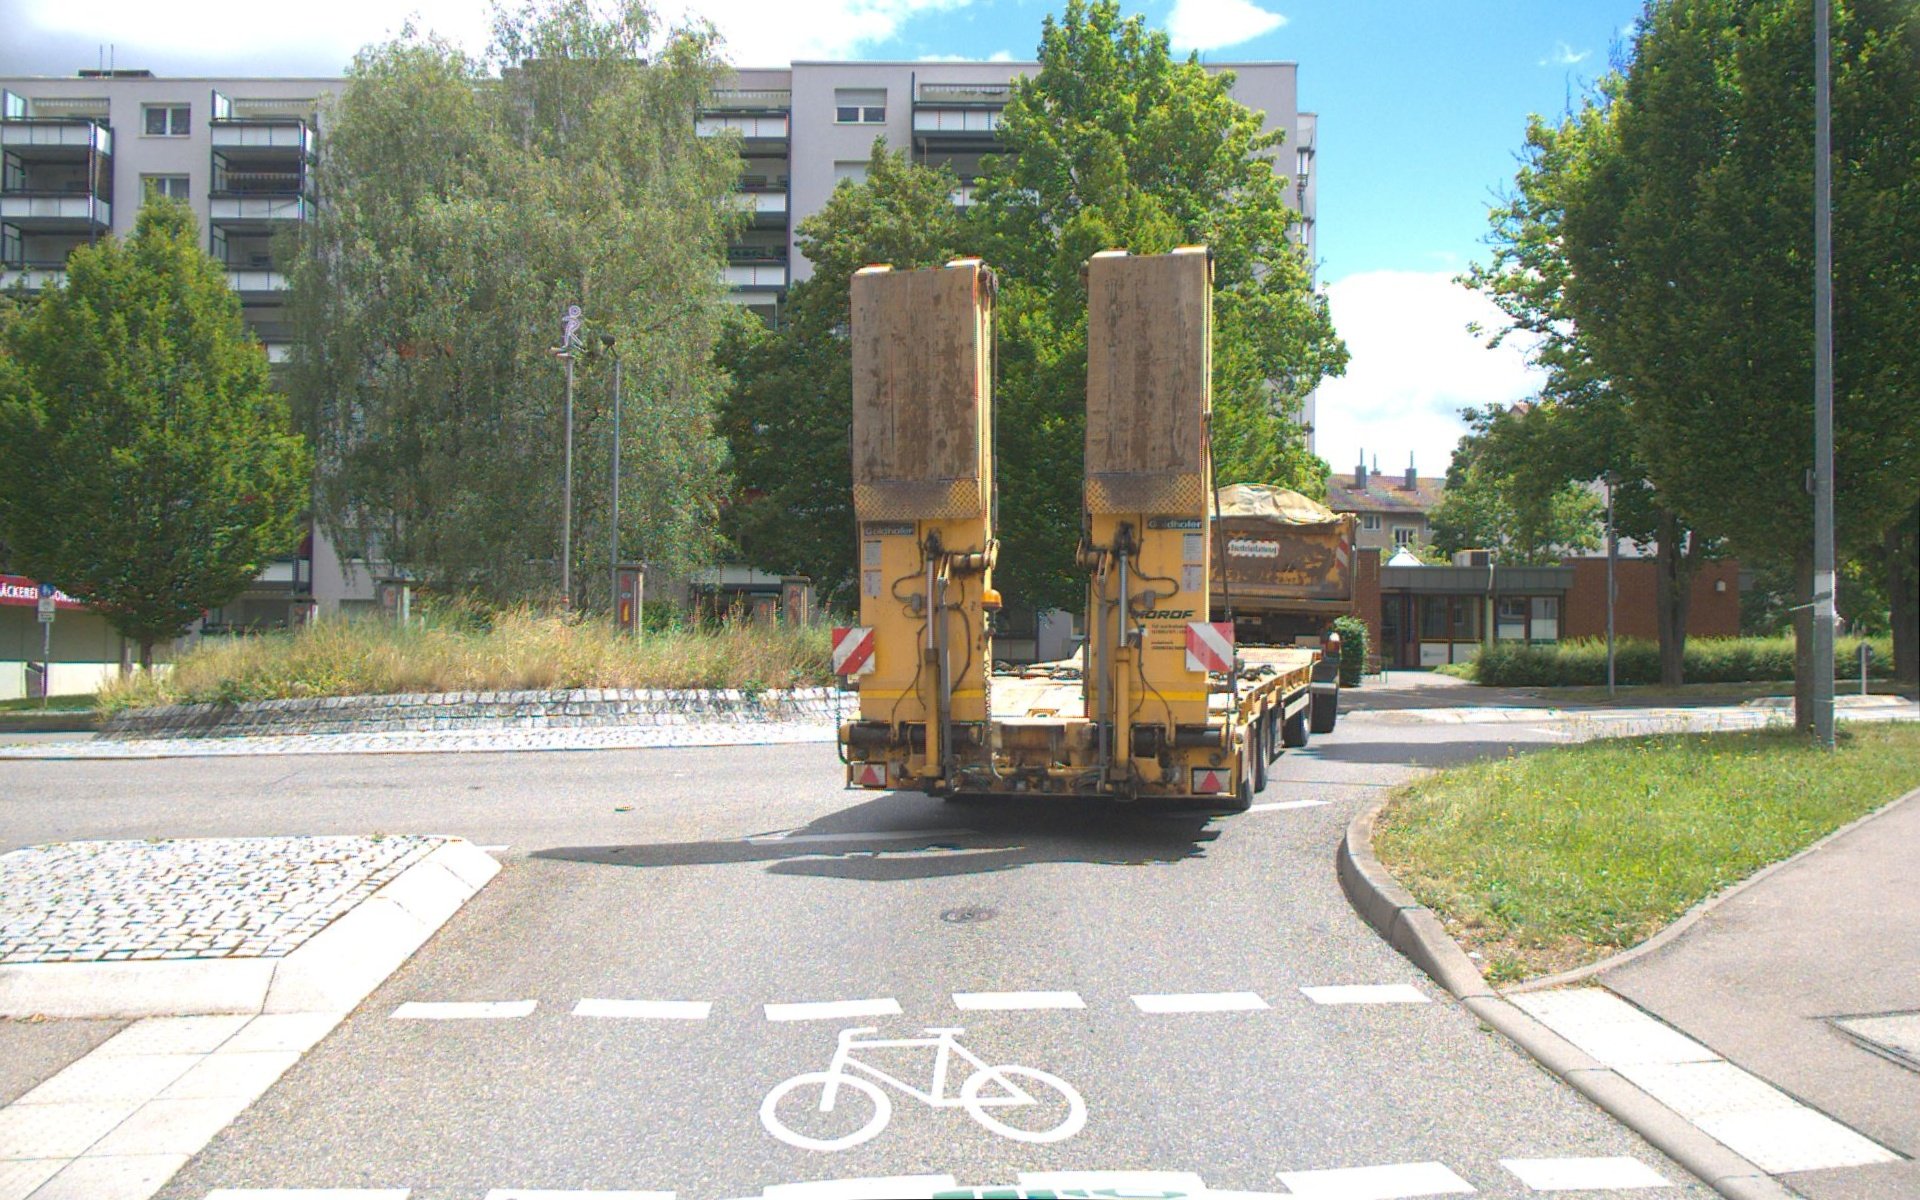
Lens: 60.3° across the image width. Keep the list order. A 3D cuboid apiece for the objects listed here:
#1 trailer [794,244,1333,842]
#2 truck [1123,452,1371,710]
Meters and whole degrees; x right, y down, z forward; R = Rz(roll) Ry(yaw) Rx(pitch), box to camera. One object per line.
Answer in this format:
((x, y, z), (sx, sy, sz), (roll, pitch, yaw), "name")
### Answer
((1.744, -0.302, 15.092), (2.803, 3.431, 10.848), (1, 0, 15), "trailer")
((4.281, -0.259, 24.456), (2.924, 3.087, 8.493), (1, 0, 11), "truck")
